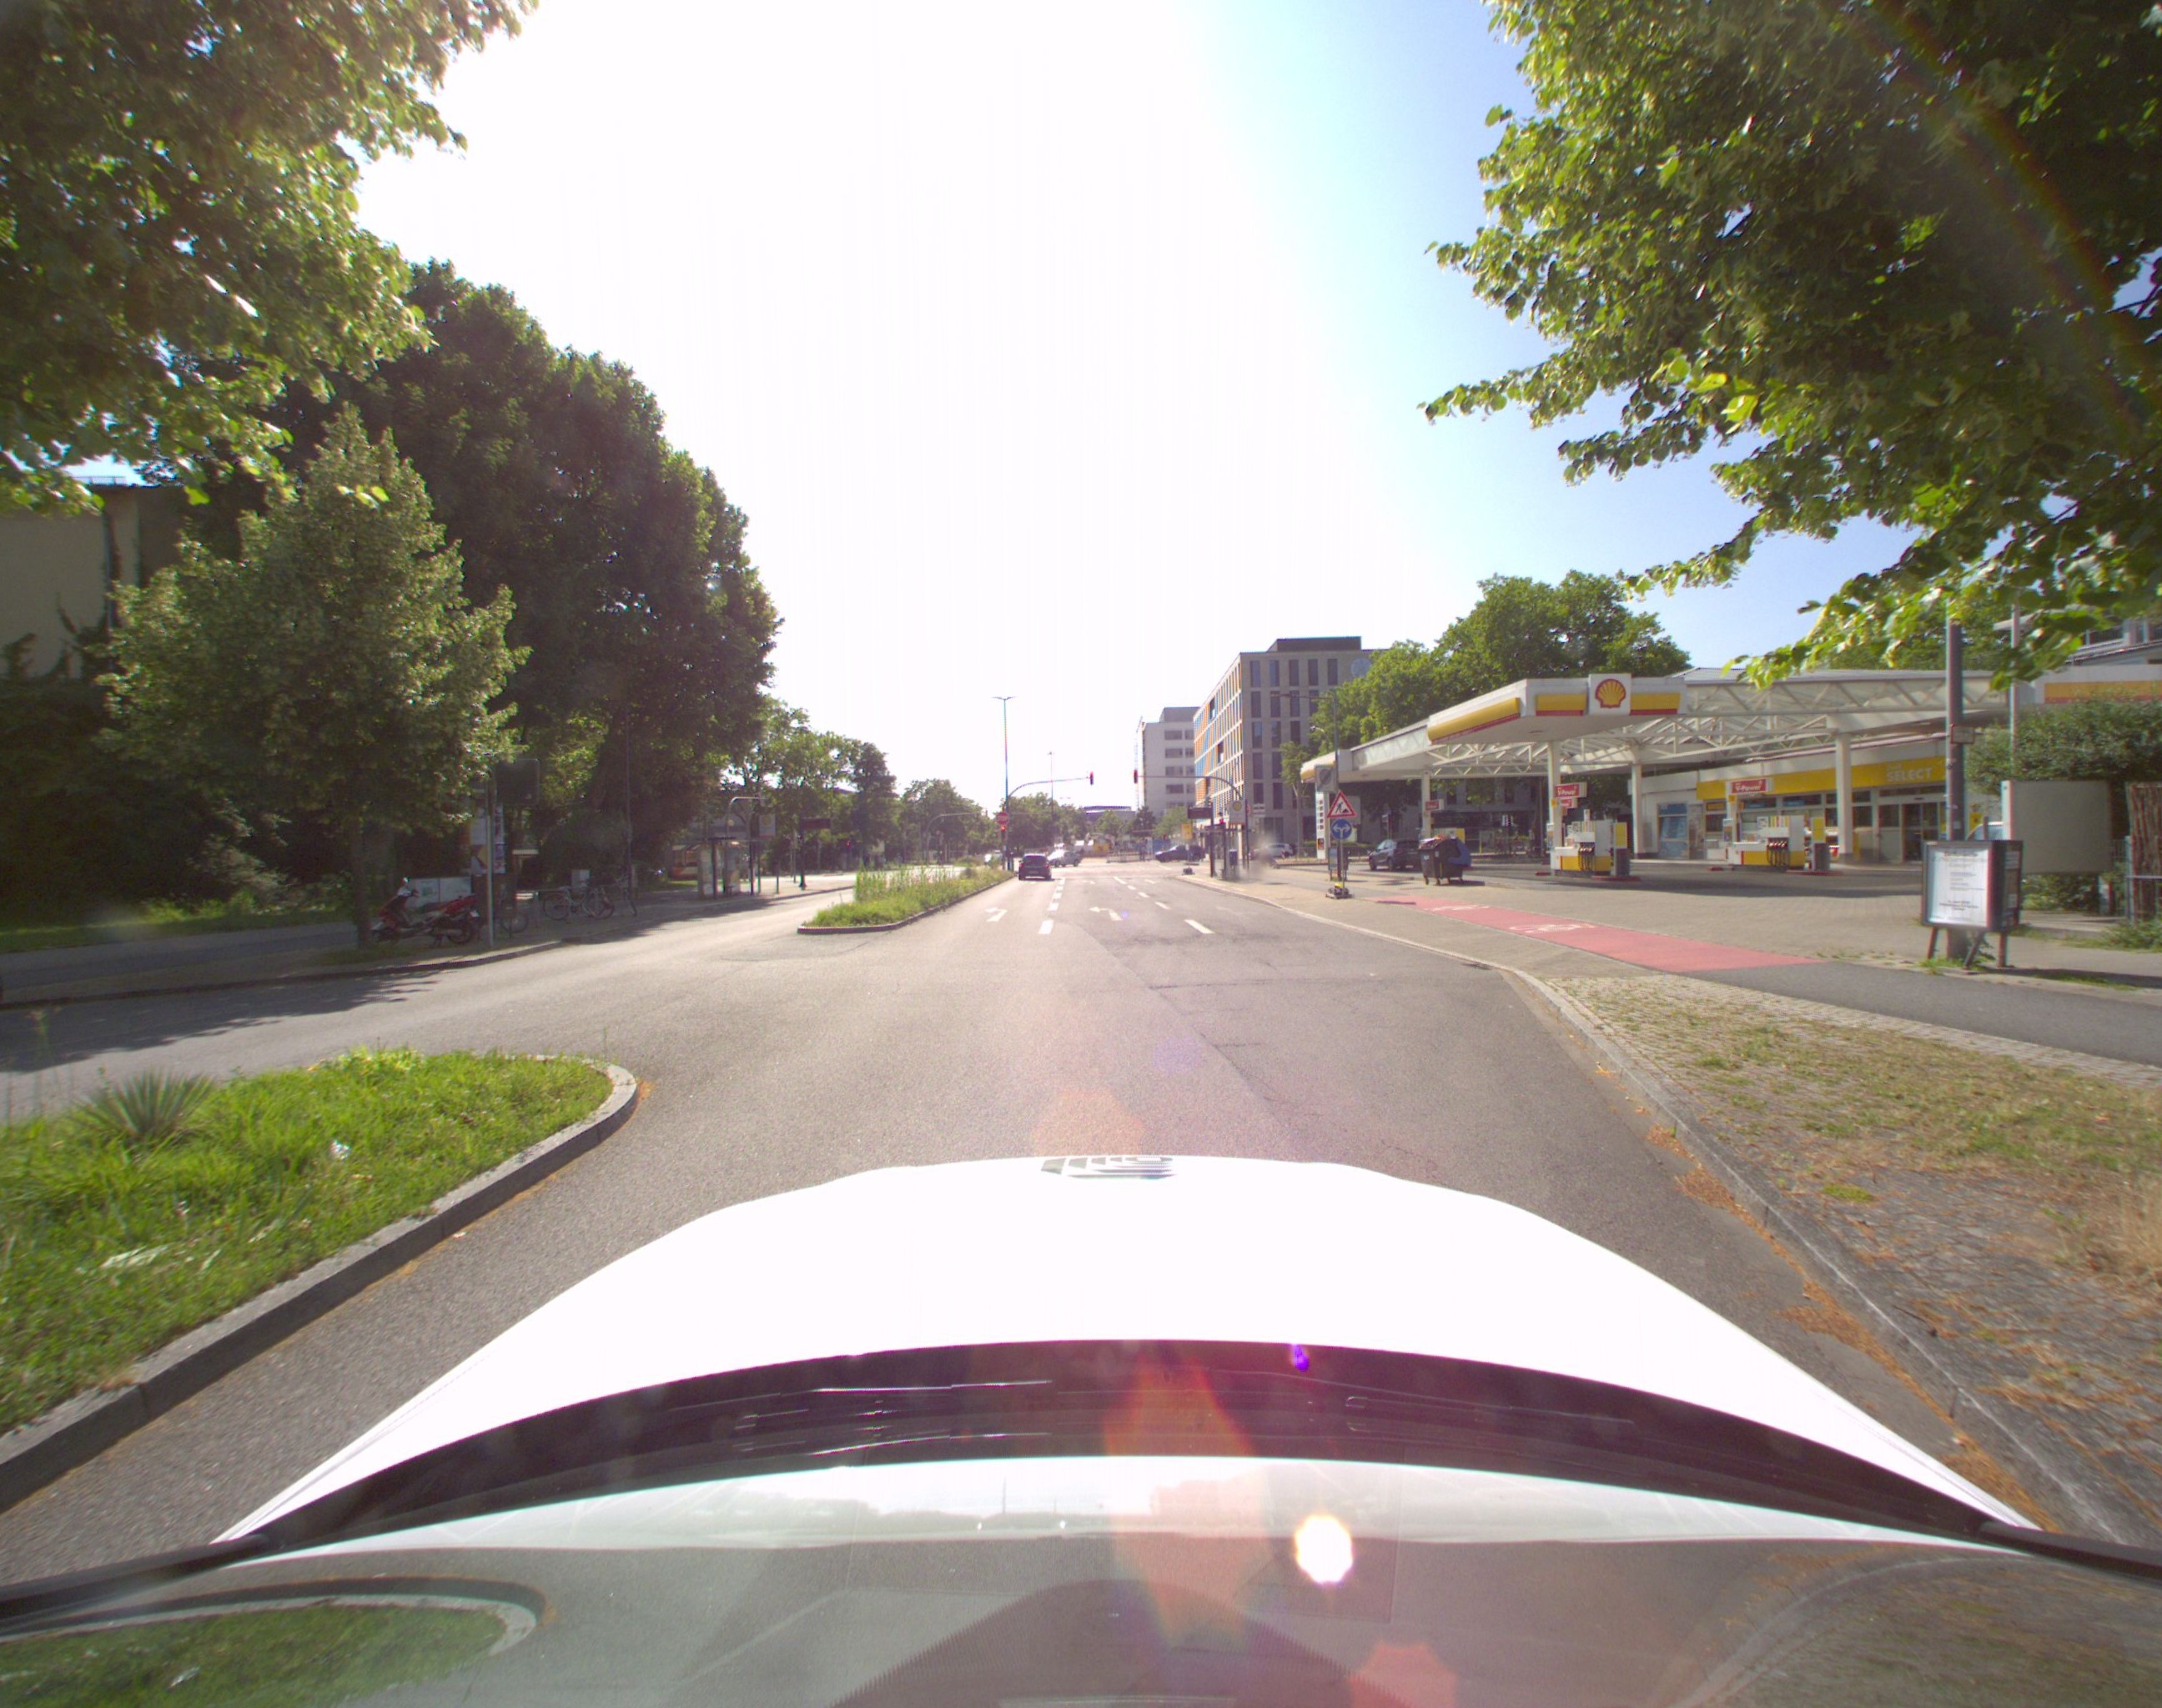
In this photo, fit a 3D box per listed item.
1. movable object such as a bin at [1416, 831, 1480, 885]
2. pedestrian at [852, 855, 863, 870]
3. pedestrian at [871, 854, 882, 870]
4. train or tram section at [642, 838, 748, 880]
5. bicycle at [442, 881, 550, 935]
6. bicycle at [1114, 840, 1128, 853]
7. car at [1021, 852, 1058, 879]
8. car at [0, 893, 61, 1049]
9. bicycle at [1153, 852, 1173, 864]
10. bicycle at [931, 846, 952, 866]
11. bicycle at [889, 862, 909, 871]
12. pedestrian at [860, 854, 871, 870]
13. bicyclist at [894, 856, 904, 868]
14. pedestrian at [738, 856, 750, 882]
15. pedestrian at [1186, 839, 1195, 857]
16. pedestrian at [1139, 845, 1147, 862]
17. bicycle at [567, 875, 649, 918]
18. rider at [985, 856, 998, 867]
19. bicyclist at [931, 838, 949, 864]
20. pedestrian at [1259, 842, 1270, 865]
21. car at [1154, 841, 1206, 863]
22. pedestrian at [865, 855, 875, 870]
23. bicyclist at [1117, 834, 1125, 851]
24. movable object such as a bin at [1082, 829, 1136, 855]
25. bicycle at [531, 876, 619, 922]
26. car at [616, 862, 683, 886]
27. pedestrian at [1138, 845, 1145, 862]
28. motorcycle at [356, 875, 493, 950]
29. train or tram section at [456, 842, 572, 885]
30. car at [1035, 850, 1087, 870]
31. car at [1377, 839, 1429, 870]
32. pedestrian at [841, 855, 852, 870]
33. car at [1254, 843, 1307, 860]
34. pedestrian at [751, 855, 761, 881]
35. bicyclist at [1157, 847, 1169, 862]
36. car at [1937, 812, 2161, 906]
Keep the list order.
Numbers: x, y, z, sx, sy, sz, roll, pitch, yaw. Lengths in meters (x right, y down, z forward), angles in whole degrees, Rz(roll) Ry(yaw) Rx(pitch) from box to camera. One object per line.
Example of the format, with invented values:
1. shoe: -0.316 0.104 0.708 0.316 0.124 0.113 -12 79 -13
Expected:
1. movable object such as a bin: 11.661 0.124 25.929 1.305 1.592 1.394 -4 0 -3
2. pedestrian: -24.177 0.913 87.957 0.648 1.611 0.947 -1 0 22
3. pedestrian: -22.243 0.866 88.488 0.660 1.611 0.947 -1 0 22
4. train or tram section: -33.157 0.386 70.214 7.536 3.332 3.117 -1 0 -3
5. bicycle: -12.840 1.171 17.909 1.839 1.092 0.693 -1 0 0
6. bicycle: 6.269 -1.209 127.416 2.078 1.962 0.829 -1 0 5
7. car: -2.340 0.611 45.739 1.989 1.398 3.995 -1 0 -4
8. car: -11.934 1.171 6.900 3.795 1.423 1.833 -3 0 -41
9. bicycle: 9.386 0.481 93.076 2.216 1.285 0.526 -1 0 7
10. bicycle: -15.926 0.241 93.170 1.595 2.269 3.999 -1 0 -1
11. bicycle: -19.290 1.326 86.423 2.001 0.883 0.525 -1 0 -12
12. pedestrian: -23.282 0.853 87.896 0.648 1.611 0.947 -1 0 22
13. bicyclist: -19.333 0.876 86.427 1.052 1.275 0.490 -1 0 -12
14. pedestrian: -22.879 1.009 55.269 0.660 1.726 0.748 -2 0 -18
15. pedestrian: 12.298 -0.658 91.737 0.770 2.013 0.782 -1 0 28
16. pedestrian: 7.347 -0.098 95.894 0.788 2.013 0.539 -1 0 -11
17. bicycle: -13.125 1.170 22.639 1.839 1.122 0.693 -1 0 0
18. rider: -11.087 0.914 100.626 1.388 1.196 2.695 -1 0 -3
19. bicyclist: -15.942 -0.347 92.341 1.595 2.931 2.352 -1 0 -1
20. pedestrian: 12.464 -0.032 55.248 0.616 1.543 0.461 -1 0 -2
21. car: 9.760 -0.175 80.320 4.843 2.013 1.998 -1 0 -3
22. pedestrian: -22.593 0.873 87.187 0.648 1.611 0.947 -1 0 22
23. bicyclist: 6.257 -1.791 127.413 1.064 2.574 0.829 -1 0 5
24. movable object such as a bin: 5.044 -2.220 148.246 9.641 4.549 3.164 -1 0 1
25. bicycle: -13.282 1.175 21.399 1.839 1.106 0.693 -1 0 0
26. car: -28.152 1.288 53.188 3.491 1.377 1.636 -1 0 -3
27. pedestrian: 7.171 -0.026 96.621 0.788 2.013 0.539 -1 0 -11
28. motorcycle: -12.045 1.055 14.986 1.844 1.284 0.691 -1 0 -8
29. train or tram section: -48.250 0.777 69.503 7.536 3.332 3.117 -1 0 -3
30. car: -1.767 0.535 73.338 4.419 1.638 1.976 -2 0 -42
31. car: 15.741 0.016 39.929 1.640 1.398 3.652 -1 0 10
32. pedestrian: -25.178 0.940 87.545 0.648 1.611 0.947 -1 0 22
33. car: 19.939 -0.247 81.442 4.842 1.636 1.998 -1 0 -2
34. pedestrian: -22.169 0.948 55.538 0.568 1.726 0.729 -2 0 -18
35. bicyclist: 9.384 0.032 93.087 1.233 1.673 0.526 -1 0 7
36. car: 18.572 0.063 15.087 3.810 1.596 1.589 -1 0 -2
